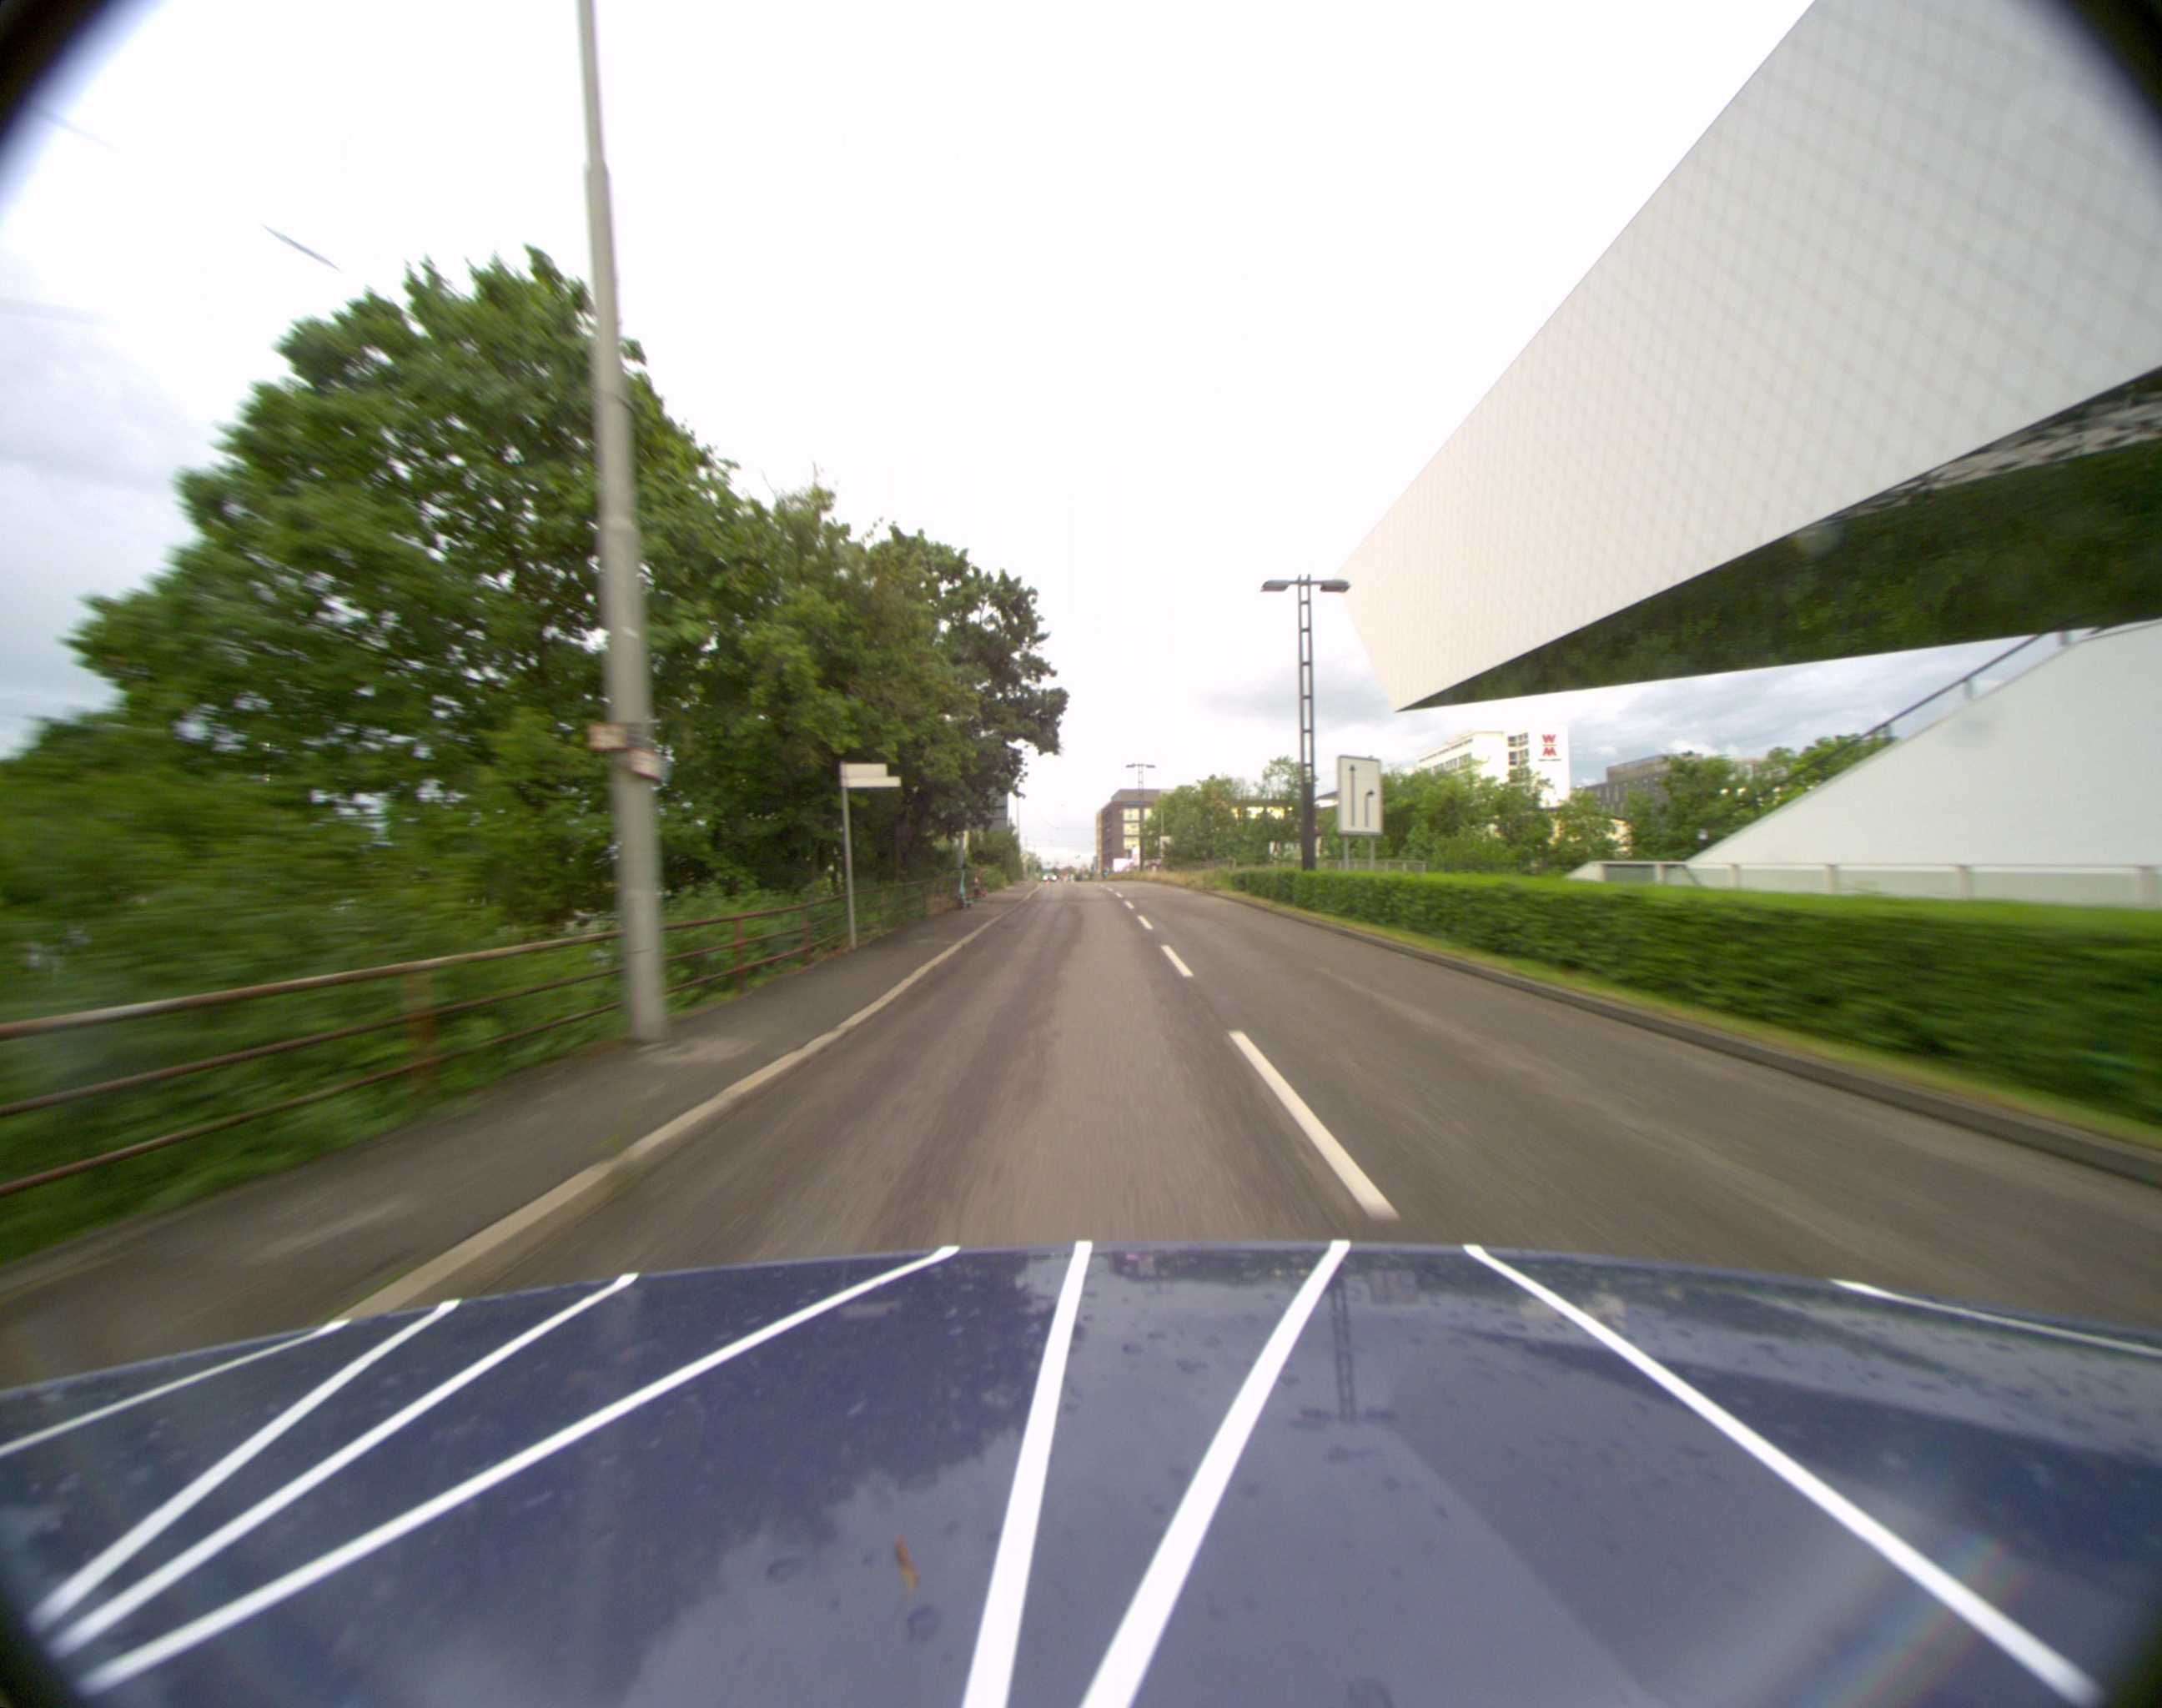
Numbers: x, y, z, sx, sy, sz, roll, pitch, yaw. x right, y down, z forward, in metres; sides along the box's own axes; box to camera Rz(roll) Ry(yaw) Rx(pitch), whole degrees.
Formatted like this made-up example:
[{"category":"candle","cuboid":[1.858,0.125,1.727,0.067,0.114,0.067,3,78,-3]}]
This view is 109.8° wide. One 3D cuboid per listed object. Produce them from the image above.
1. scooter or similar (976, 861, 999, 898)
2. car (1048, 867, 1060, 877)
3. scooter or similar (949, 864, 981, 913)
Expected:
[{"category":"scooter or similar","cuboid":[-3.224,0.858,26.257,0.574,1.201,1.468,-1,0,1]},{"category":"car","cuboid":[-4.396,2.893,122.606,1.841,1.574,4.289,-1,0,-1]},{"category":"scooter or similar","cuboid":[-3.115,0.894,20.526,0.539,1.225,1.844,-1,0,1]}]
